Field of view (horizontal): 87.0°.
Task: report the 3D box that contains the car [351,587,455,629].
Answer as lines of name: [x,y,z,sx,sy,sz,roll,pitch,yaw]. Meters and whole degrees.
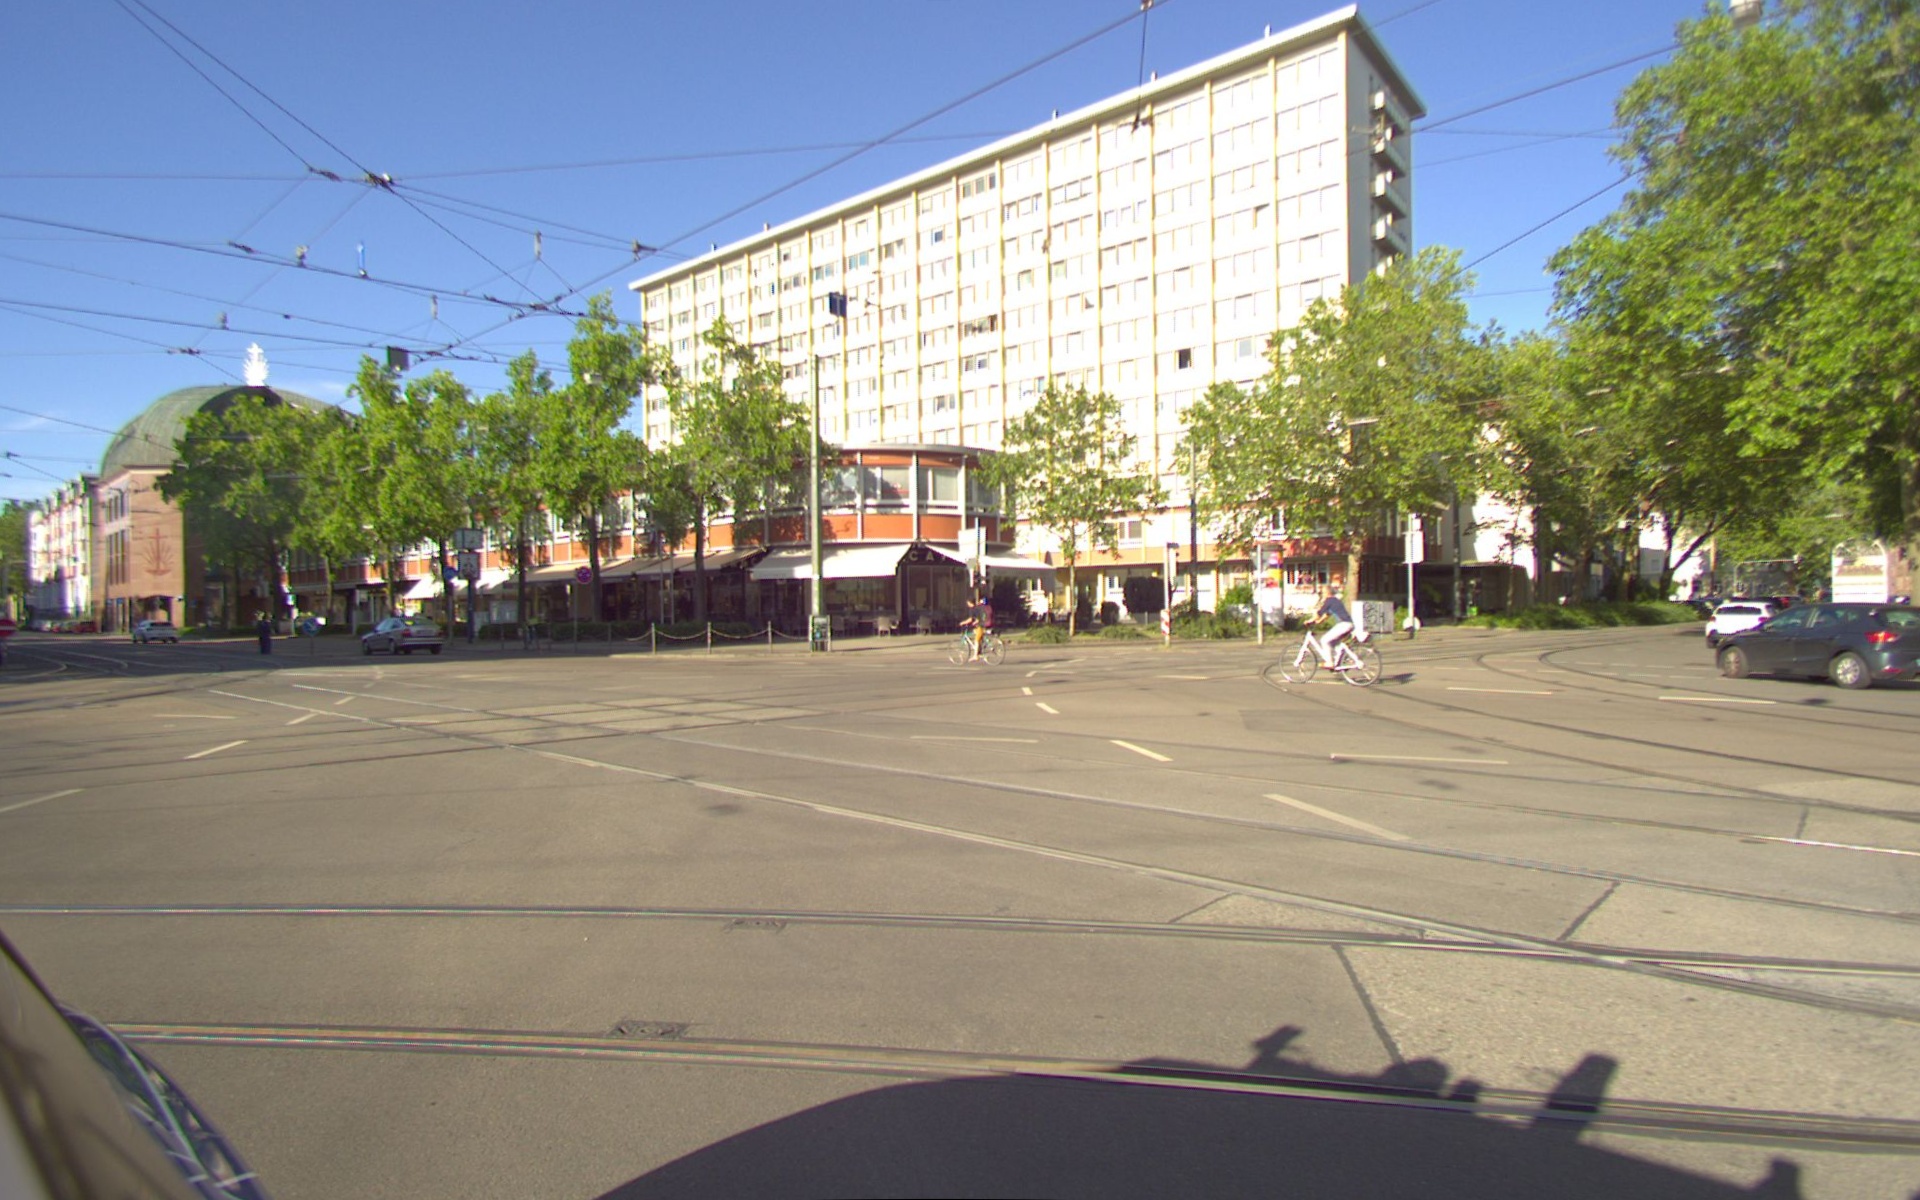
car: [-21.100,0.278,38.293,4.648,1.462,1.973,1,0,41]

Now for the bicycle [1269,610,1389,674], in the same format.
bicycle: [6.378,0.707,17.554,1.855,0.979,0.587,2,1,43]

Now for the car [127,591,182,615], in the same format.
car: [-51.070,0.183,64.125,4.500,1.462,1.973,1,0,41]

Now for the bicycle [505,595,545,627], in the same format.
bicycle: [-16.888,0.429,39.258,2.234,1.195,0.492,1,0,41]

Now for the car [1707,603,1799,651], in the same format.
car: [25.661,0.844,32.713,3.948,1.413,1.805,0,-1,-44]

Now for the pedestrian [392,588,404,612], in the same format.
pedestrian: [-41.165,0.011,74.111,0.706,1.763,0.566,1,0,44]

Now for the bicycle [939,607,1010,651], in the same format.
bicycle: [0.354,0.699,25.015,1.818,0.979,0.587,2,1,43]

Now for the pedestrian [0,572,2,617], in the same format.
pedestrian: [-30.763,-0.010,32.016,0.895,1.777,0.552,1,-2,43]

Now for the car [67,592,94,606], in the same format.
car: [-95.383,-0.088,109.731,3.470,1.465,1.730,1,1,41]

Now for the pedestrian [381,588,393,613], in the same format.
pedestrian: [-41.631,0.036,73.556,0.706,1.785,0.566,1,0,44]

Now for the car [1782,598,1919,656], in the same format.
car: [23.825,0.664,25.838,4.084,1.413,1.786,-1,-1,29]

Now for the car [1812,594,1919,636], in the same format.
car: [32.198,0.513,34.799,4.403,1.345,1.972,1,1,42]

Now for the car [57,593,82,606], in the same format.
car: [-102.489,-0.079,116.467,3.853,1.465,1.831,1,1,43]

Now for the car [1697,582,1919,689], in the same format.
car: [15.135,0.528,17.277,1.970,1.608,4.003,2,1,-3]

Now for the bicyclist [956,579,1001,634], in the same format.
bicyclist: [0.447,0.149,24.878,0.927,1.295,0.582,2,1,43]

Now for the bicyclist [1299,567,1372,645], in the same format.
bicyclist: [6.484,0.095,17.487,0.992,1.295,0.582,2,1,43]

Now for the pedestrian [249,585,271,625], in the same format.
pedestrian: [-27.014,0.197,39.056,0.859,1.529,0.494,1,-2,43]
